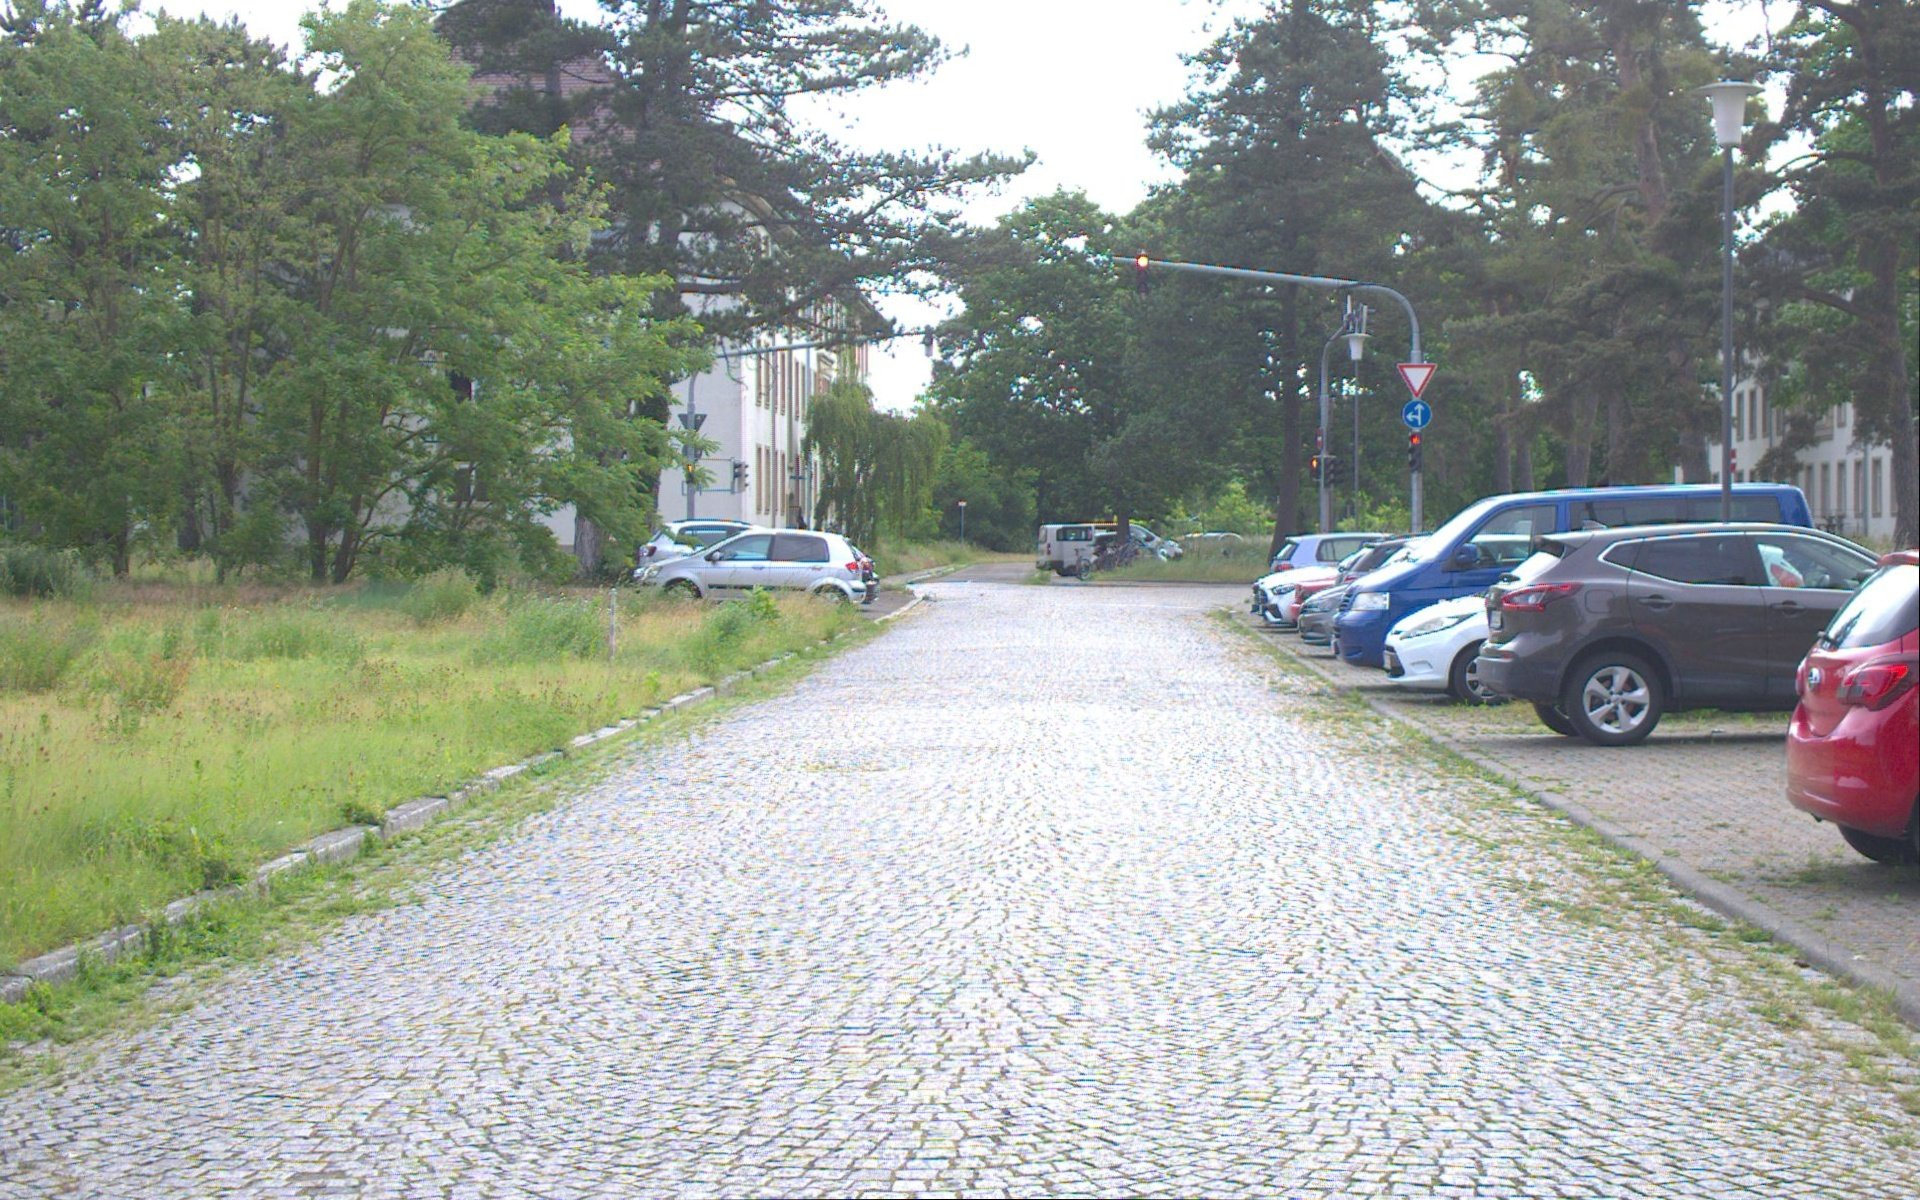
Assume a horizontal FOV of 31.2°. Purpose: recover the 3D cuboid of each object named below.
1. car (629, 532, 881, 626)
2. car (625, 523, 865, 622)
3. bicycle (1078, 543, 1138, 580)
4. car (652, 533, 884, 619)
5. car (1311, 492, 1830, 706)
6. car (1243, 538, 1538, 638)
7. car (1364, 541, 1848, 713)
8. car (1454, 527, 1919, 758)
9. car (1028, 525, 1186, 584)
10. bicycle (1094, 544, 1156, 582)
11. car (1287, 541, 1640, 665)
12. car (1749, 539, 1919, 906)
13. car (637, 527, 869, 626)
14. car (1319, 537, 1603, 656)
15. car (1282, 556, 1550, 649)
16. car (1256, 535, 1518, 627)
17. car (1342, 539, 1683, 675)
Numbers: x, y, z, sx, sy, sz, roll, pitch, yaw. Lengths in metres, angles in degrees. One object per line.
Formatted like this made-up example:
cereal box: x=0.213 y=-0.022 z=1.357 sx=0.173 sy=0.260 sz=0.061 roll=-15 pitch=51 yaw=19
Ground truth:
car: x=-3.574 y=-0.383 z=59.973 sx=4.297 sy=1.548 sz=1.812 roll=-1 pitch=1 yaw=-4
car: x=-3.915 y=-0.510 z=62.793 sx=4.297 sy=1.726 sz=1.653 roll=-1 pitch=1 yaw=-3
bicycle: x=4.880 y=-1.264 z=113.614 sx=1.881 sy=1.167 sz=0.665 roll=2 pitch=1 yaw=-3
car: x=-3.646 y=-0.470 z=65.239 sx=4.297 sy=1.548 sz=1.812 roll=-1 pitch=1 yaw=-4
car: x=5.995 y=-0.029 z=34.169 sx=4.795 sy=1.997 sz=1.966 roll=-1 pitch=1 yaw=0
car: x=6.560 y=-0.195 z=52.572 sx=4.184 sy=1.432 sz=1.755 roll=-1 pitch=1 yaw=-5
car: x=5.888 y=0.227 z=31.630 sx=4.097 sy=1.473 sz=1.722 roll=-1 pitch=1 yaw=-1
car: x=5.885 y=0.277 z=25.269 sx=4.203 sy=1.589 sz=1.953 roll=-1 pitch=1 yaw=0
car: x=5.325 y=-1.656 z=124.908 sx=5.375 sy=2.094 sz=2.179 roll=0 pitch=1 yaw=-10
bicycle: x=5.272 y=-1.199 z=110.099 sx=1.881 sy=1.167 sz=0.665 roll=2 pitch=1 yaw=-3
car: x=6.157 y=0.022 z=42.384 sx=4.131 sy=1.442 sz=1.765 roll=-1 pitch=1 yaw=3
car: x=5.604 y=0.469 z=14.968 sx=3.923 sy=1.491 sz=1.785 roll=-1 pitch=1 yaw=1
car: x=-3.426 y=-0.401 z=57.368 sx=3.720 sy=1.475 sz=1.673 roll=2 pitch=1 yaw=-1
car: x=6.554 y=-0.063 z=45.237 sx=3.505 sy=1.482 sz=1.743 roll=-1 pitch=1 yaw=2
car: x=6.316 y=0.028 z=47.876 sx=3.587 sy=1.218 sz=1.628 roll=-1 pitch=1 yaw=3
car: x=7.158 y=-0.332 z=57.870 sx=4.135 sy=1.458 sz=1.634 roll=-1 pitch=1 yaw=-3
car: x=6.300 y=0.065 z=39.472 sx=3.653 sy=1.473 sz=1.765 roll=-1 pitch=1 yaw=2
